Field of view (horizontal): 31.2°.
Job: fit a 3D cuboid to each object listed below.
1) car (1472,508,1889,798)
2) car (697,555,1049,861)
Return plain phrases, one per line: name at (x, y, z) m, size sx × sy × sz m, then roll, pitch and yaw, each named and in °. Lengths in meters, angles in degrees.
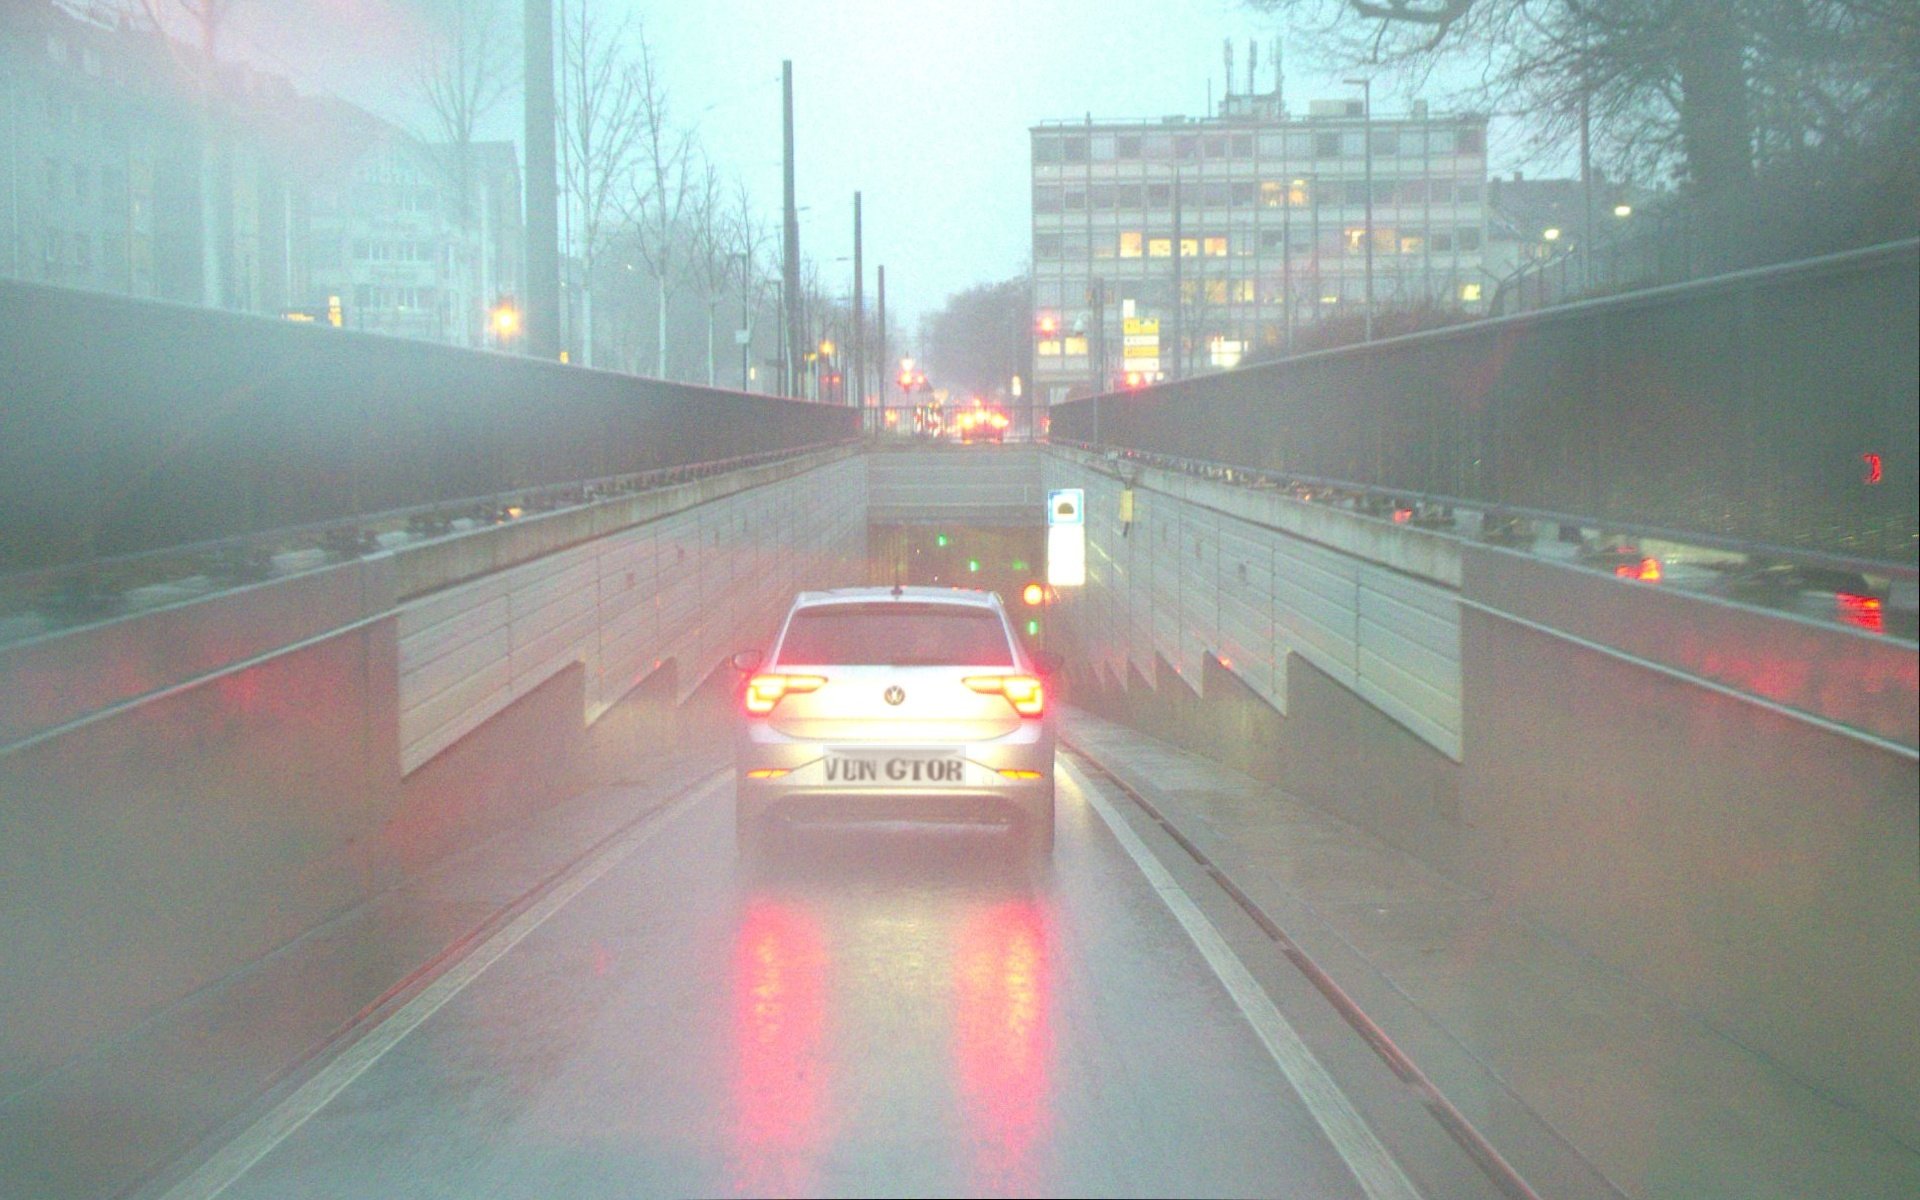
car at (4.181, 0.232, 20.549) m, size 1.722 × 1.474 × 4.000 m, roll 2°, pitch 2°, yaw 2°
car at (-0.393, 0.521, 19.415) m, size 1.722 × 1.474 × 4.000 m, roll 2°, pitch 1°, yaw 2°
